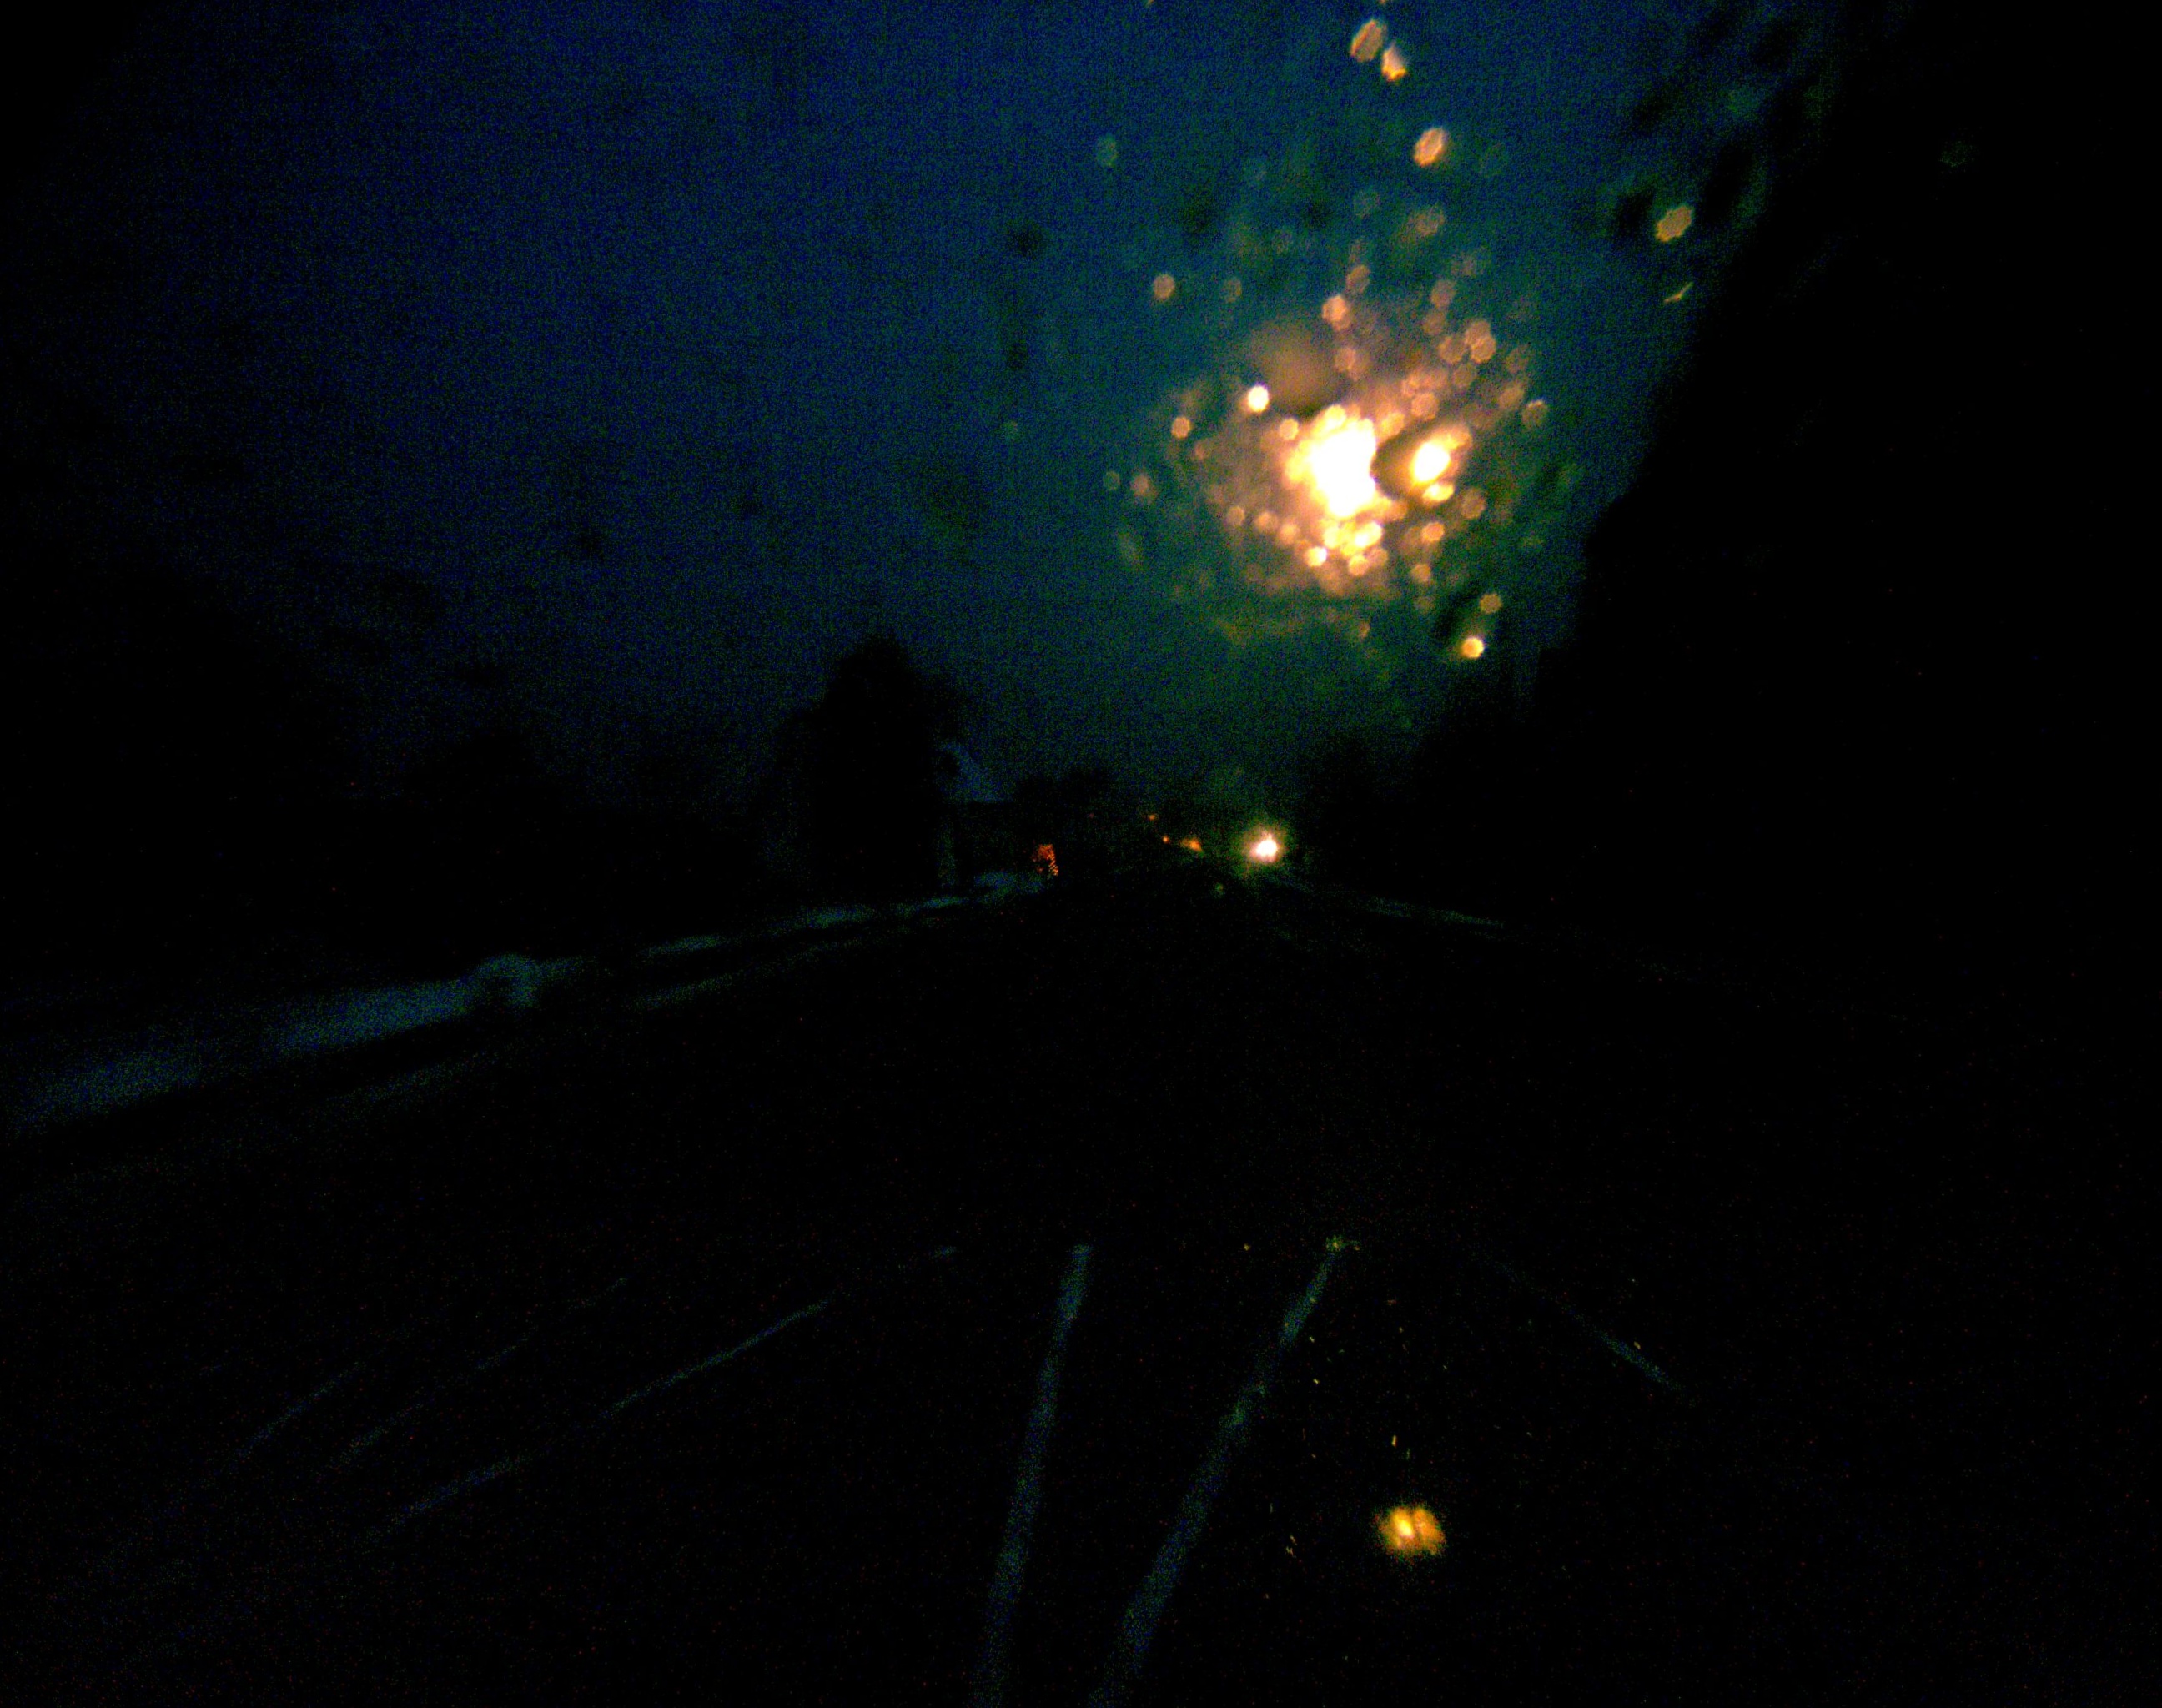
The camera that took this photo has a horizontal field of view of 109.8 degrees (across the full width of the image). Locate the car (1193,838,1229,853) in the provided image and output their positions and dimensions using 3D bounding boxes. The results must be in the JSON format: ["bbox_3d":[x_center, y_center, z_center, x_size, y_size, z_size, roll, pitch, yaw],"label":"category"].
[{"bbox_3d":[17.246,-1.120,100.766,4.207,1.848,1.914,2,4,35],"label":"car"}]

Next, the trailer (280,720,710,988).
[{"bbox_3d":[-9.191,-0.034,12.812,2.881,3.540,5.063,-2,2,6],"label":"trailer"}]

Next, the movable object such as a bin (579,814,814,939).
[{"bbox_3d":[-8.486,0.401,17.393,2.391,2.455,4.518,-2,1,12],"label":"movable object such as a bin"}]
